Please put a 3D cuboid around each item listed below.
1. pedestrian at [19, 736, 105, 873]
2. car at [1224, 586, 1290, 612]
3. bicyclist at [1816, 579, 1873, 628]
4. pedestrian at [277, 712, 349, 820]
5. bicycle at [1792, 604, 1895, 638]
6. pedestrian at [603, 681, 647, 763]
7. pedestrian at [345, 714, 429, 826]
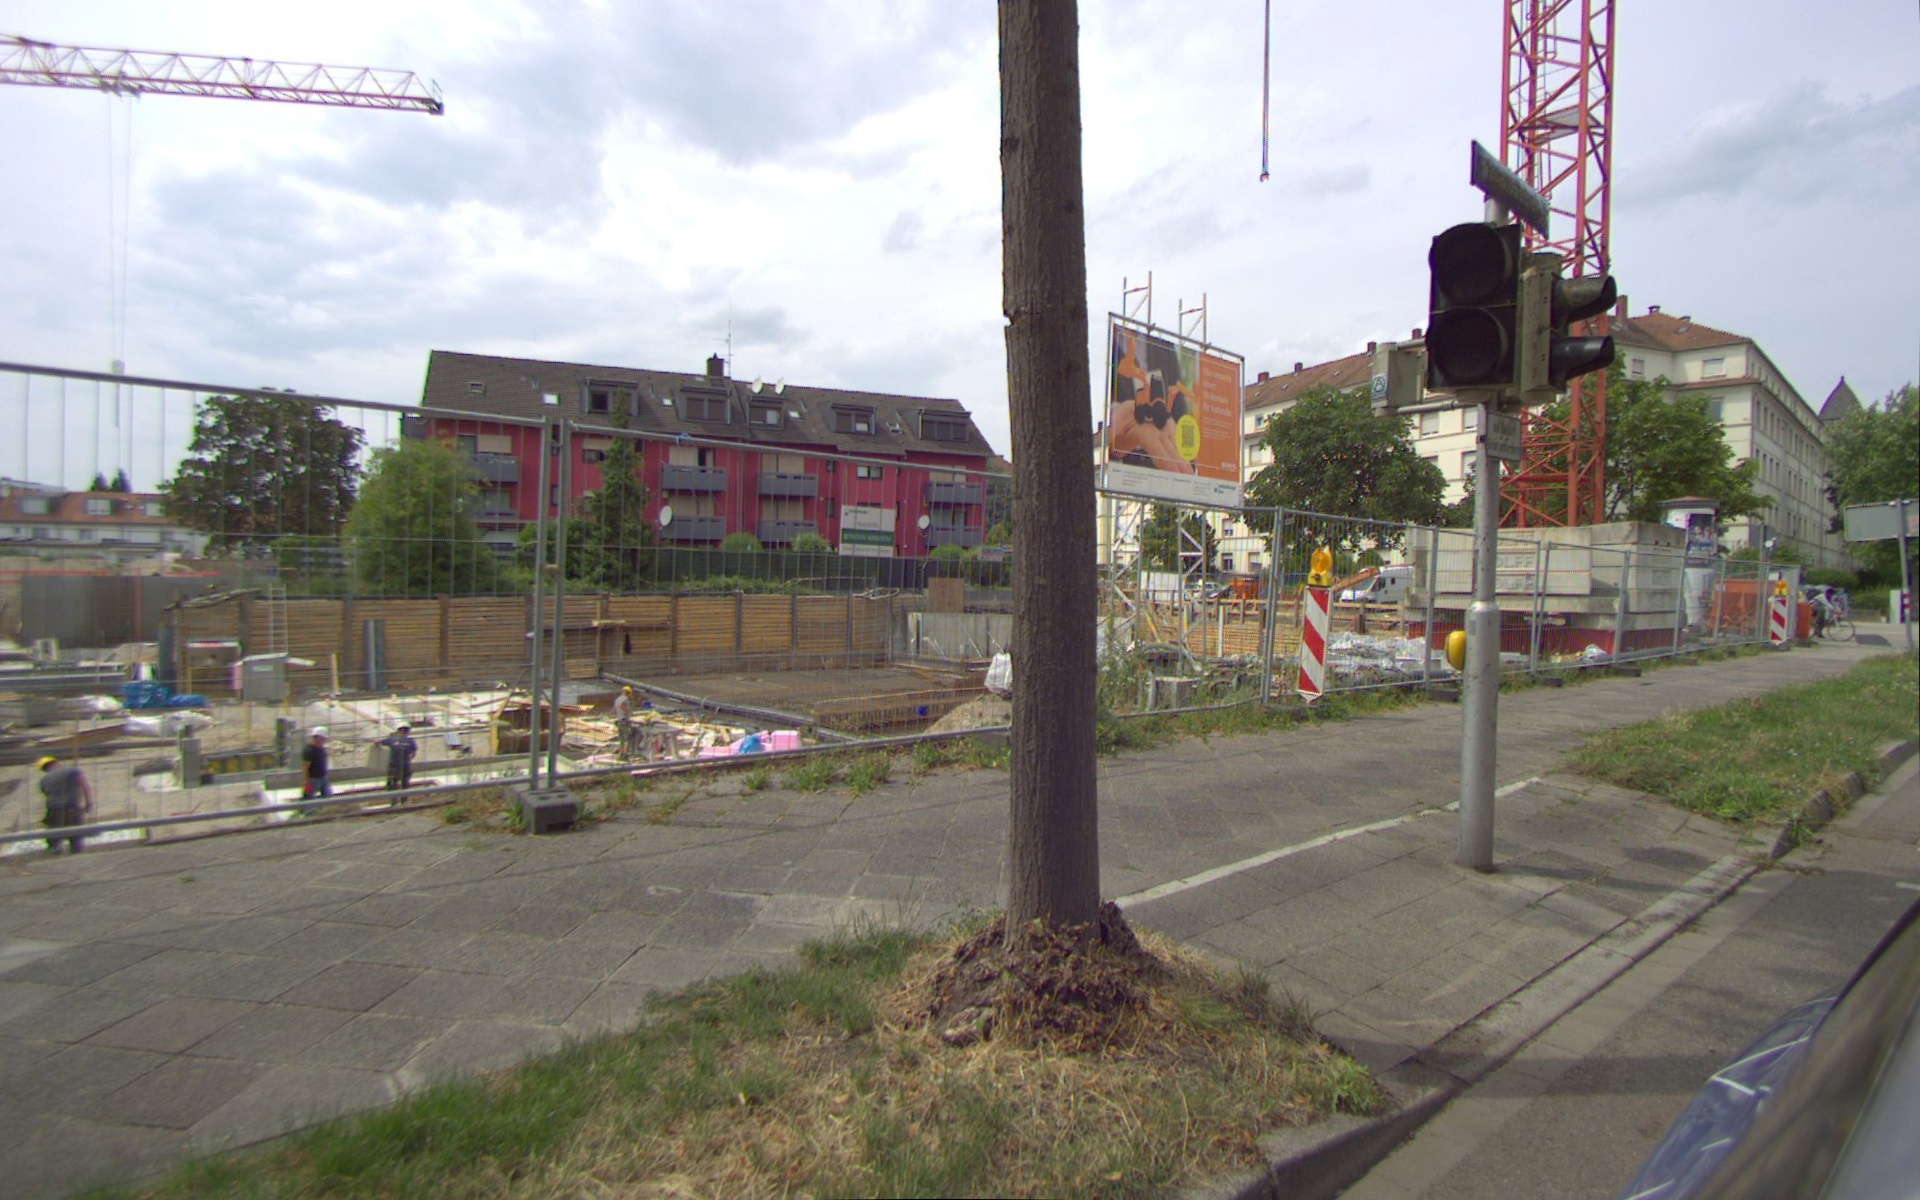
[{"bbox_3d":[-12.995,2.934,14.678,0.705,1.743,0.847,0,2,-24],"label":"pedestrian"},{"bbox_3d":[19.781,-0.065,67.423,3.837,1.609,1.803,-1,-1,-20],"label":"car"},{"bbox_3d":[26.798,0.125,30.688,0.700,1.431,1.082,1,-2,-8],"label":"bicyclist"},{"bbox_3d":[-11.303,2.878,17.693,0.828,1.743,0.721,1,2,-6],"label":"pedestrian"},{"bbox_3d":[26.795,0.618,30.751,0.700,0.945,2.483,1,0,-8],"label":"bicycle"},{"bbox_3d":[-7.751,2.809,23.453,0.707,1.743,0.845,1,2,2],"label":"pedestrian"},{"bbox_3d":[-9.910,2.915,17.529,0.965,1.743,0.845,1,2,2],"label":"pedestrian"}]
